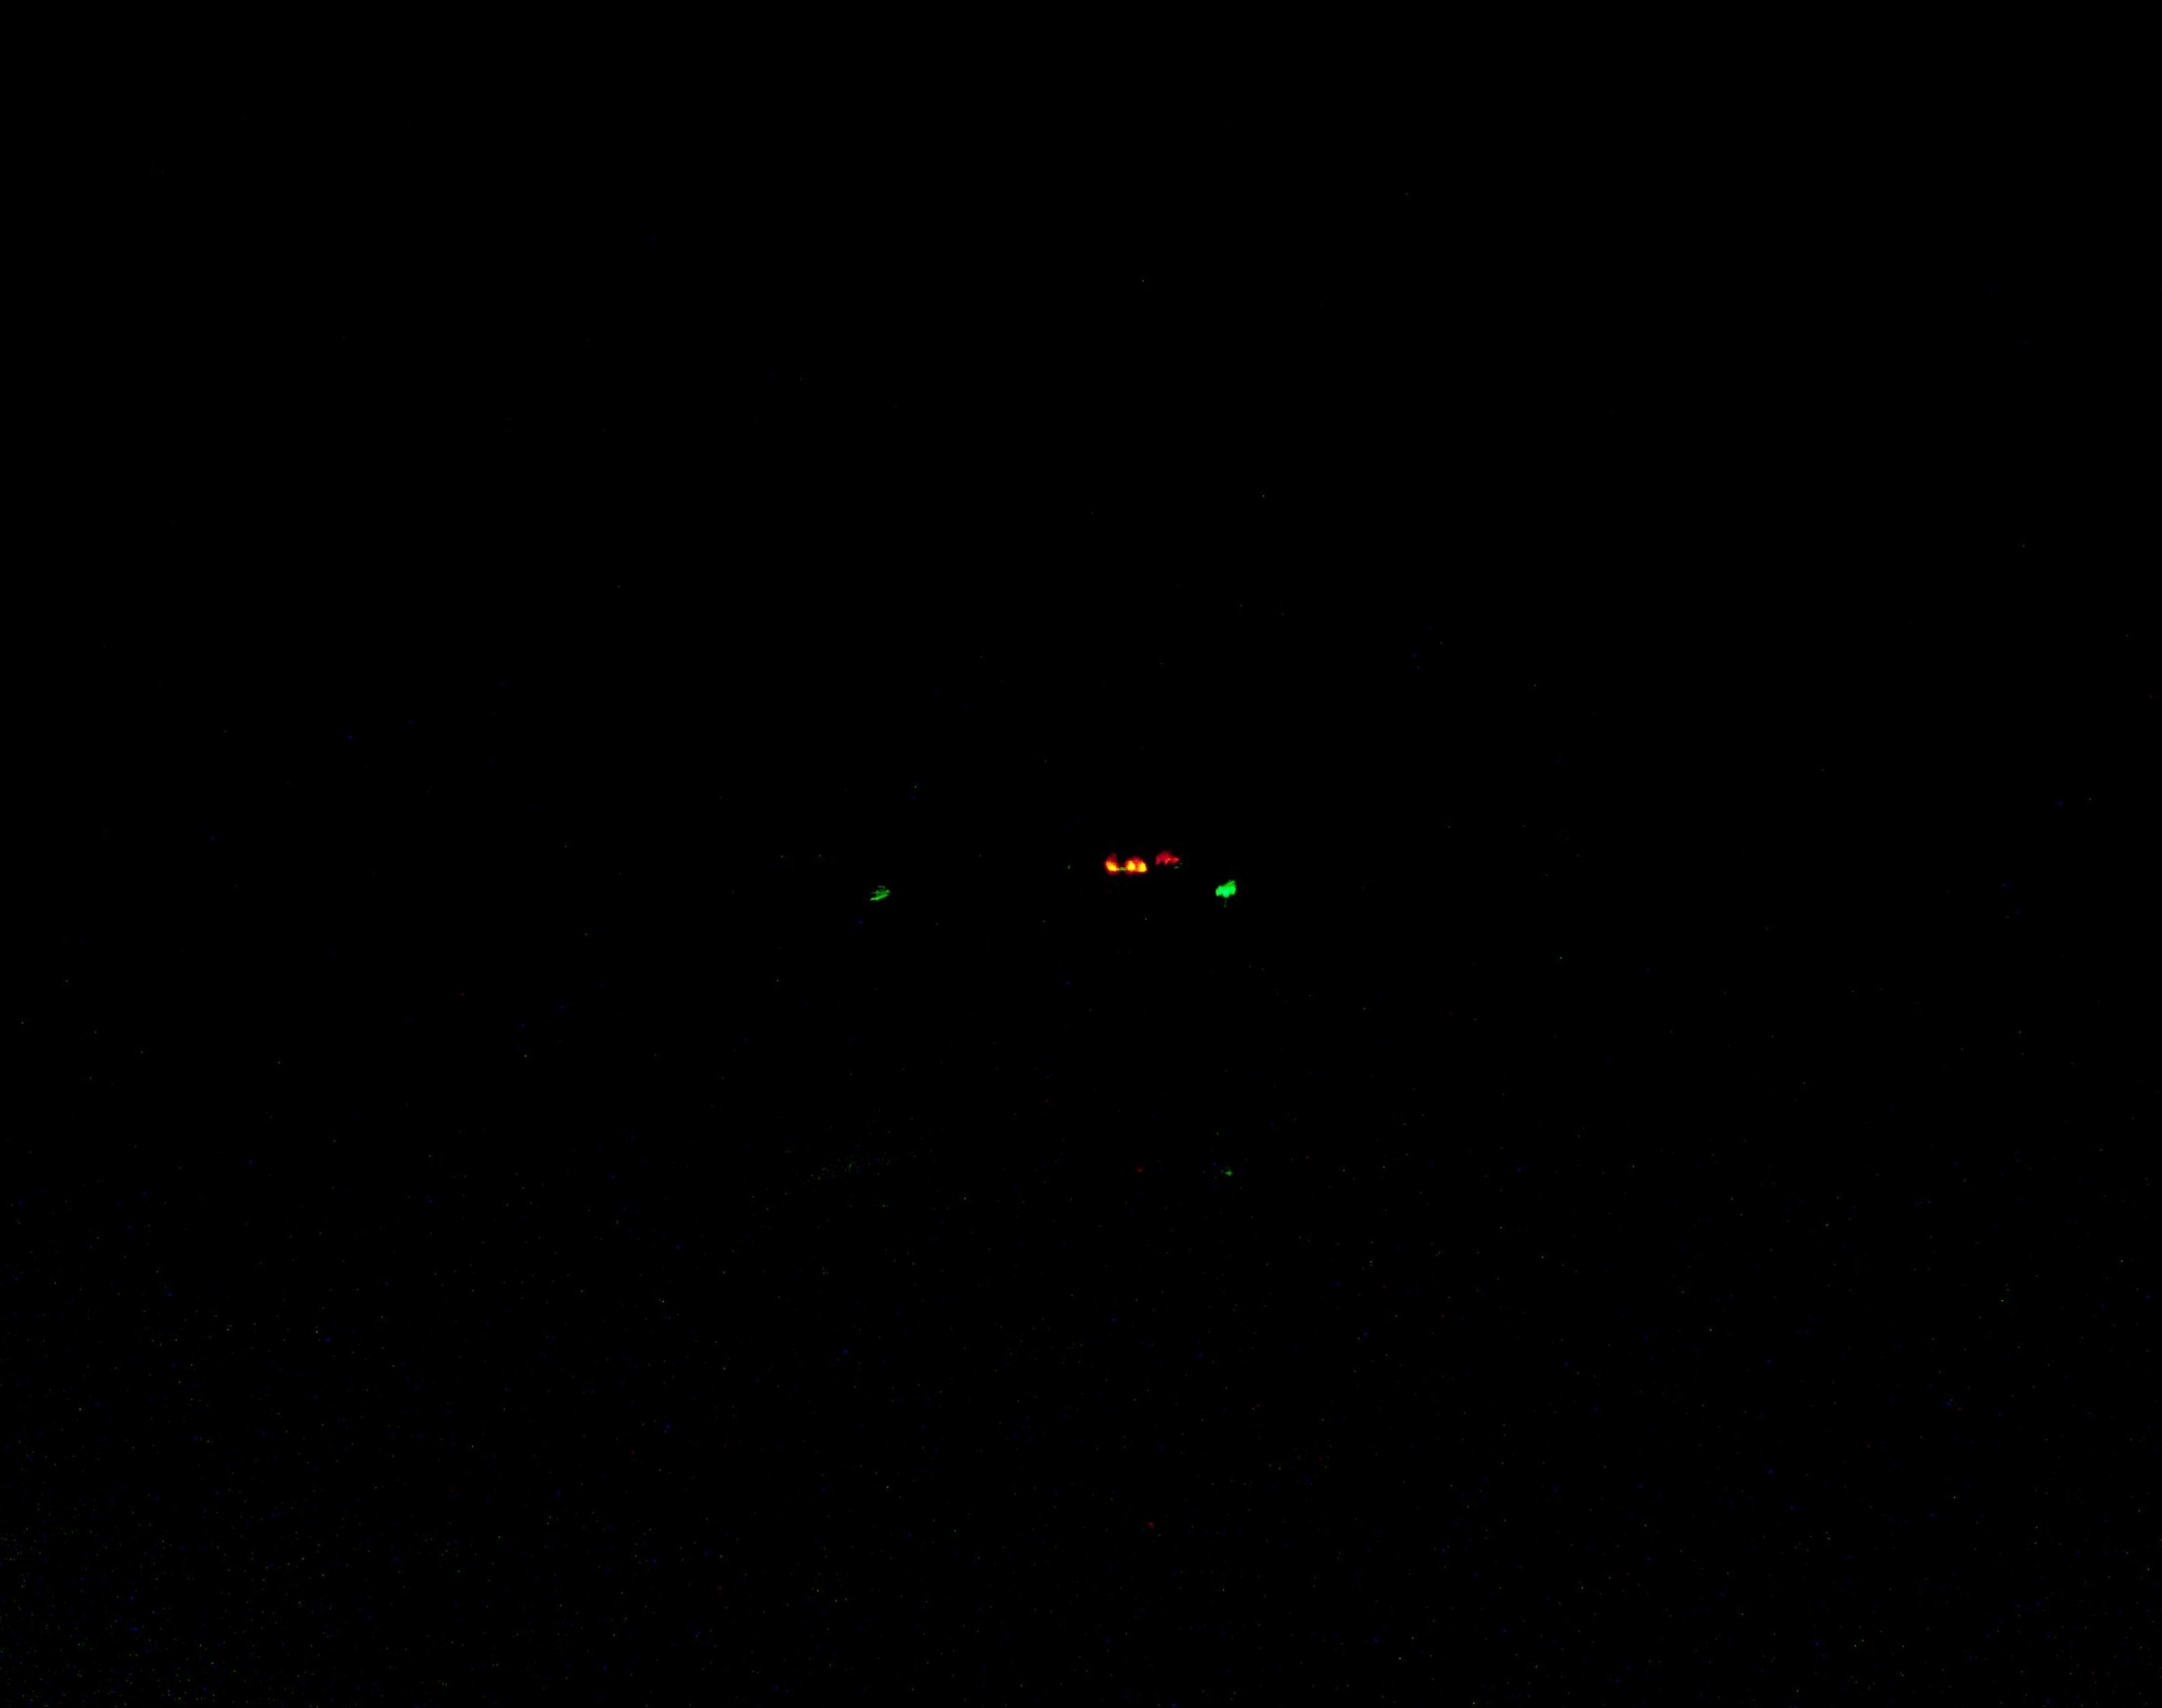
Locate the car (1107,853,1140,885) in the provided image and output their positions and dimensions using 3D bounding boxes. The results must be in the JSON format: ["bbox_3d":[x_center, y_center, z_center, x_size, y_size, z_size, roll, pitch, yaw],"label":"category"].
[{"bbox_3d":[2.475,0.842,47.821,1.835,1.740,4.003,-1,0,3],"label":"car"}]
